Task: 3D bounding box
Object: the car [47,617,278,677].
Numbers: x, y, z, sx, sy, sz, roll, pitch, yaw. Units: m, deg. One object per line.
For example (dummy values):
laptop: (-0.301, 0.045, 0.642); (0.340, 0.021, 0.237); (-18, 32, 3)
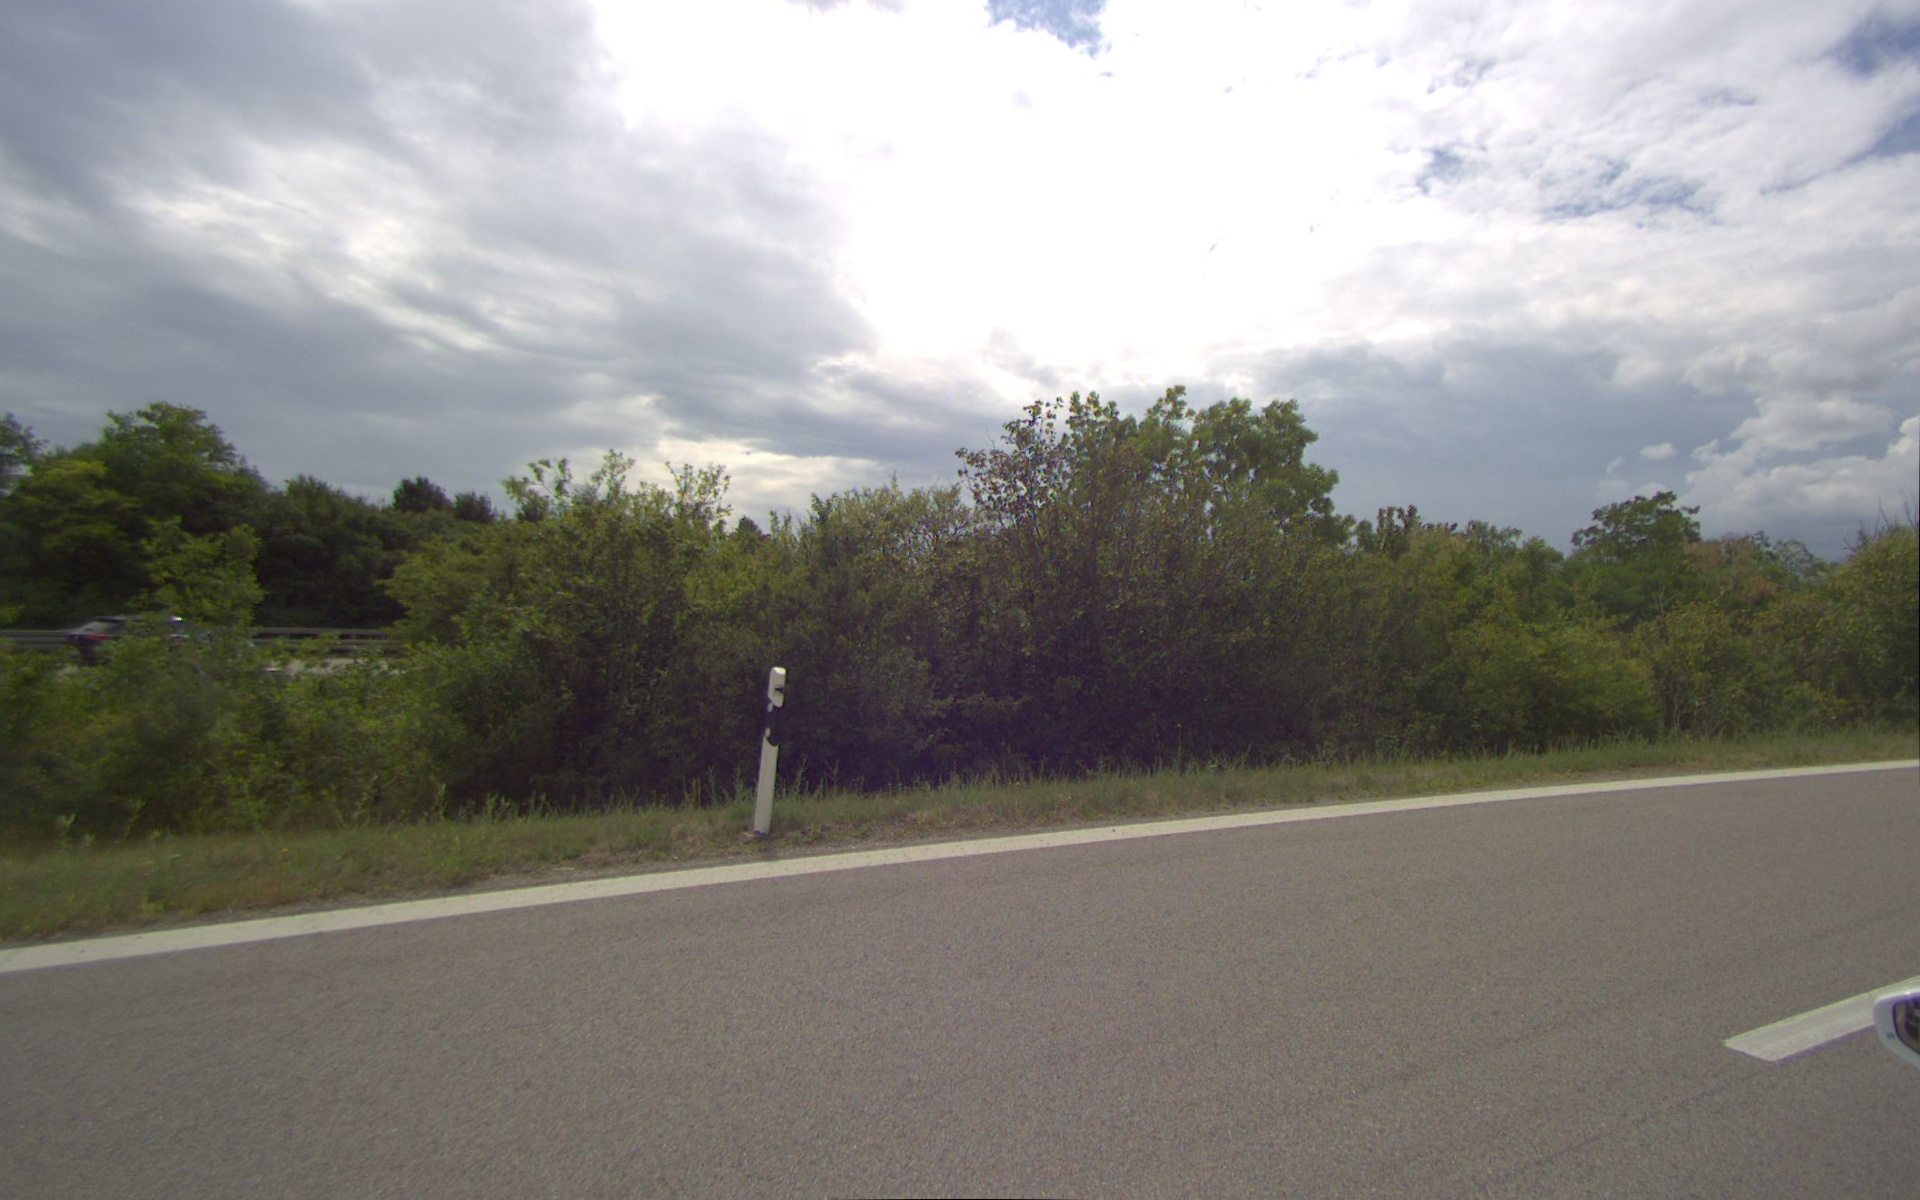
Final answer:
car: (-21.424, 1.267, 27.220); (1.962, 1.441, 4.455); (1, -2, 26)
